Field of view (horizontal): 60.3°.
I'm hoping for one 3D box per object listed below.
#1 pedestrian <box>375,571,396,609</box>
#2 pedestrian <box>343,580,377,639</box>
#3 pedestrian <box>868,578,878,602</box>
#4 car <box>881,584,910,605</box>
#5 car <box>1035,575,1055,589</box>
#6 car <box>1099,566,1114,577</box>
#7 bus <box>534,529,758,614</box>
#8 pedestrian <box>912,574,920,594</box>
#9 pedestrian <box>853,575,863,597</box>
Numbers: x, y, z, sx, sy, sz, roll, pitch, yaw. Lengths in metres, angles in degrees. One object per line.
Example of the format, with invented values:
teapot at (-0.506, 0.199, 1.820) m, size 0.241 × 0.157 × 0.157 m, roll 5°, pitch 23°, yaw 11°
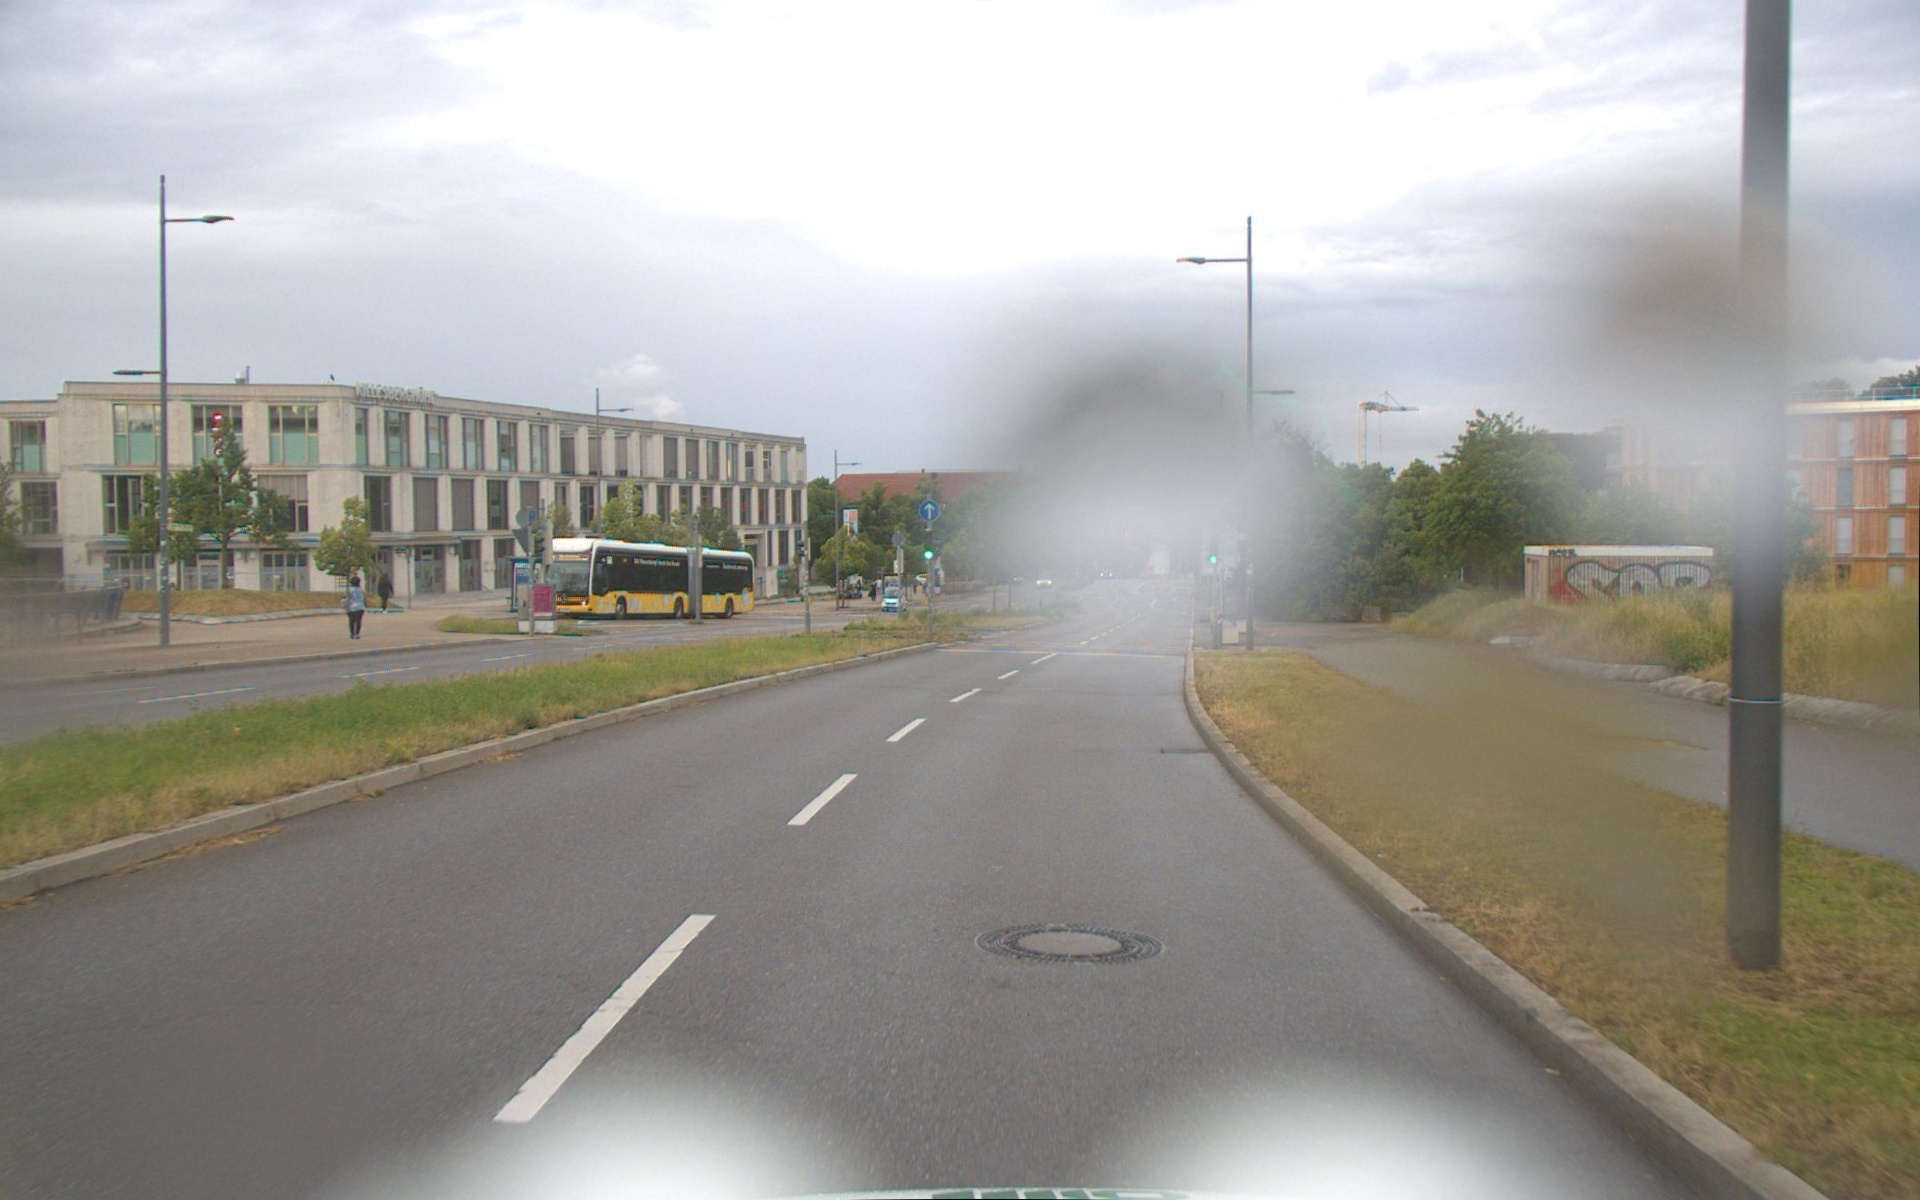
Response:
pedestrian at (-23.832, -0.421, 68.618) m, size 0.670 × 1.551 × 0.717 m, roll 0°, pitch -1°, yaw -10°
pedestrian at (-16.476, 0.254, 45.429) m, size 0.820 × 1.601 × 0.716 m, roll 0°, pitch -1°, yaw -17°
pedestrian at (-7.143, -0.803, 136.476) m, size 0.735 × 1.981 × 0.836 m, roll 0°, pitch -1°, yaw -10°
car at (-4.677, -0.383, 119.686) m, size 1.446 × 1.520 × 2.532 m, roll 0°, pitch -1°, yaw 13°
car at (10.026, -2.139, 195.183) m, size 1.731 × 1.520 × 4.071 m, roll 0°, pitch -1°, yaw 12°
car at (22.564, -4.374, 254.161) m, size 1.731 × 1.520 × 4.071 m, roll 0°, pitch -1°, yaw 13°
bus at (-14.246, -1.104, 77.996) m, size 2.725 × 3.416 × 18.238 m, roll 0°, pitch -1°, yaw 15°
pedestrian at (-4.424, -1.604, 165.492) m, size 0.735 × 2.049 × 0.836 m, roll 0°, pitch -1°, yaw -10°
pedestrian at (-8.990, -1.234, 145.692) m, size 0.735 × 1.885 × 0.836 m, roll 0°, pitch -1°, yaw -10°
